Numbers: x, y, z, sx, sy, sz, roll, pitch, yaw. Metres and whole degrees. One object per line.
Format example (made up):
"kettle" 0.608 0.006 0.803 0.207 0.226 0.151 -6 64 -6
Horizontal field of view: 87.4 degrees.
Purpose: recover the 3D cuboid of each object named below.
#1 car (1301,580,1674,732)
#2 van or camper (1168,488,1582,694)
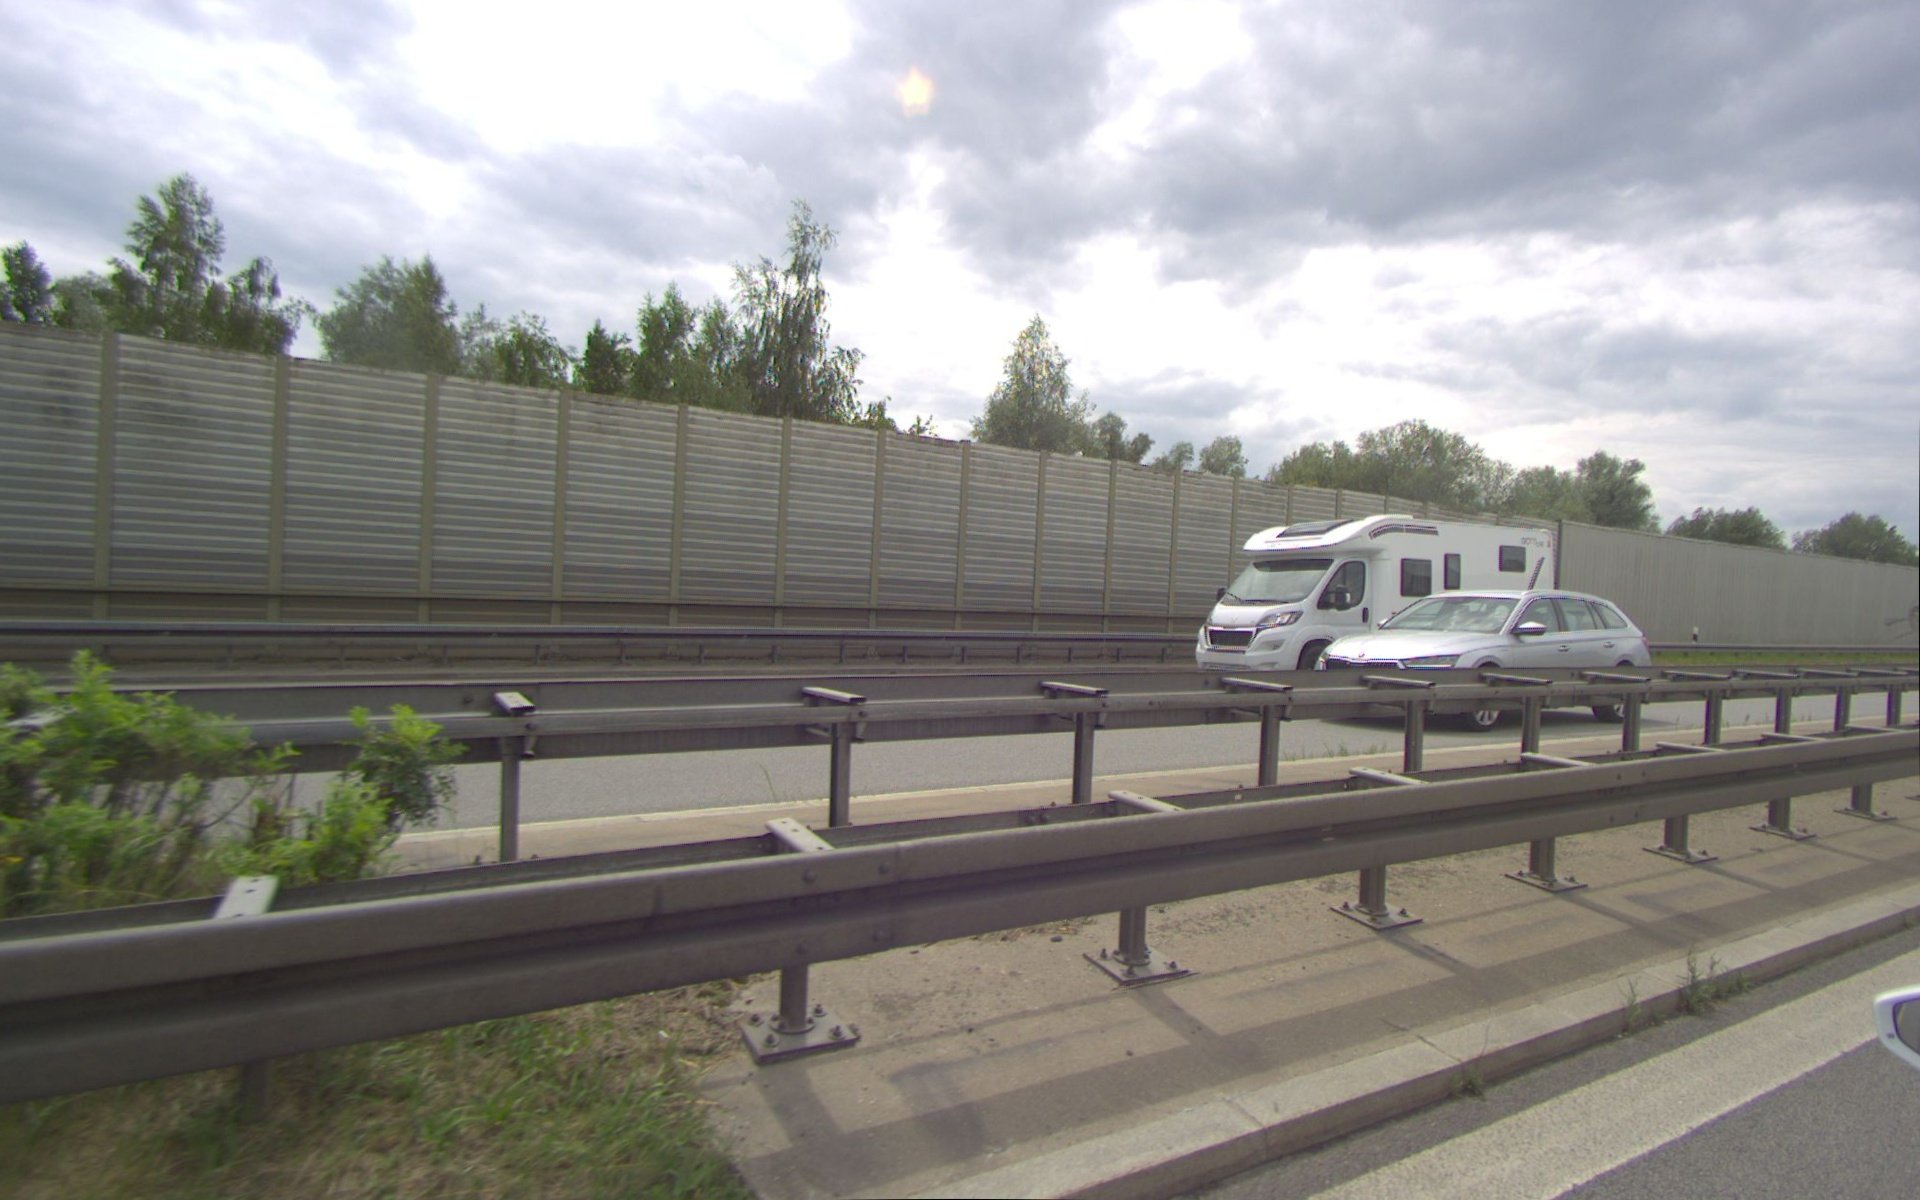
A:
"car" 6.107 0.606 11.454 4.595 1.439 1.683 2 -1 -32
"van or camper" 7.306 -0.020 17.205 7.679 2.908 2.454 2 -1 -31
